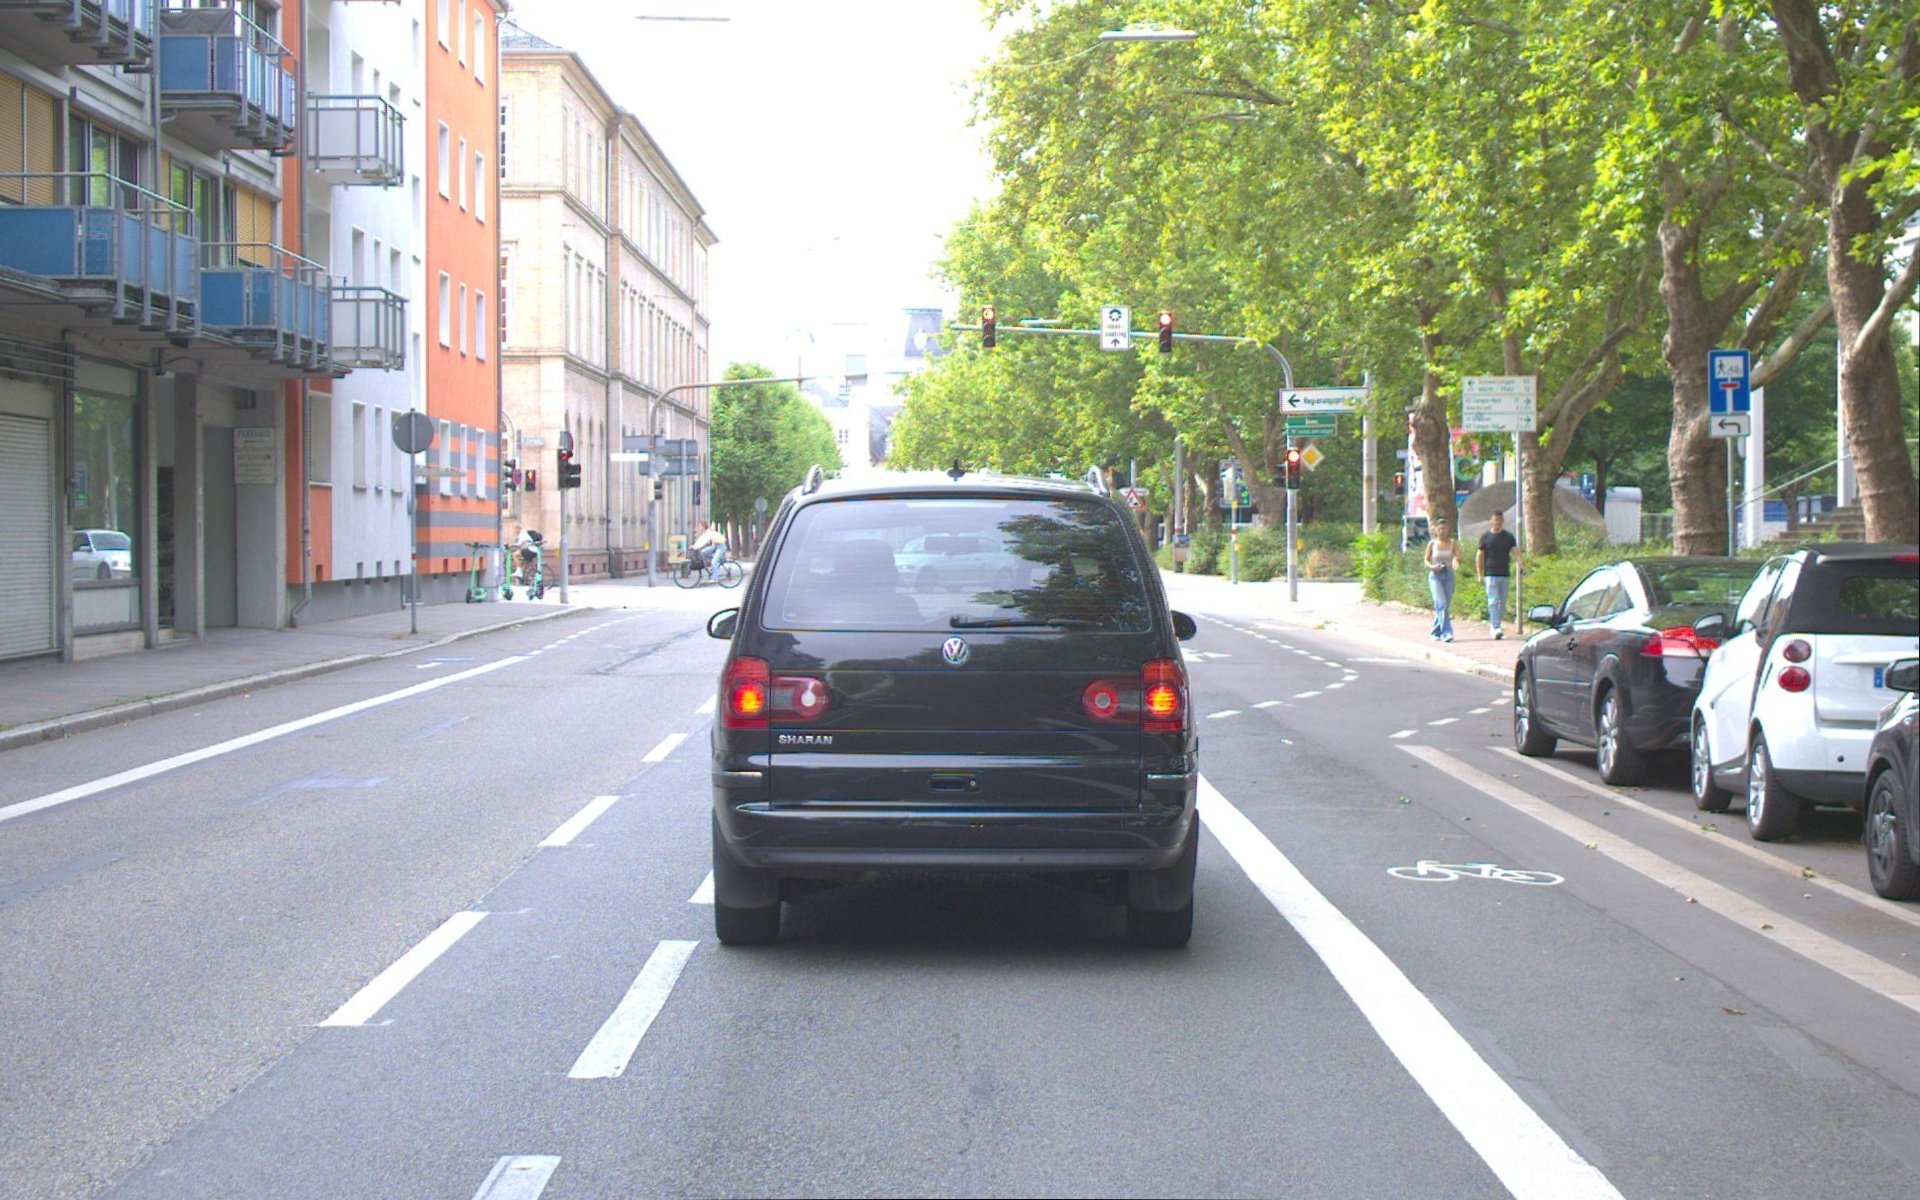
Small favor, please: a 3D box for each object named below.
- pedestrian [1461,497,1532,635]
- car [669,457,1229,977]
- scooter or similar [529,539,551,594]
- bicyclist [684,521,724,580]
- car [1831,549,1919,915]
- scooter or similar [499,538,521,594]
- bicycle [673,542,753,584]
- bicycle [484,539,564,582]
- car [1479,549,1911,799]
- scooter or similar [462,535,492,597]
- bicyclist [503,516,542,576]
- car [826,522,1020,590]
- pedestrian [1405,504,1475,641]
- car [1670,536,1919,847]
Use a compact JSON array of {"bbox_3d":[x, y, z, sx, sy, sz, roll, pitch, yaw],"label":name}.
[{"bbox_3d":[7.151,-0.458,45.826,0.715,1.794,1.034,-2,1,-1],"label":"pedestrian"},{"bbox_3d":[-0.051,0.338,13.841,1.874,1.739,4.574,0,1,0],"label":"car"},{"bbox_3d":[-8.880,-0.708,72.702,0.378,1.140,1.142,0,0,-3],"label":"scooter or similar"},{"bbox_3d":[-6.416,-1.236,86.090,0.914,1.461,0.570,1,1,-12],"label":"bicyclist"},{"bbox_3d":[4.734,0.577,13.772,1.528,1.496,3.660,2,1,0],"label":"car"},{"bbox_3d":[-9.450,-0.711,72.232,0.378,1.143,1.142,0,0,-3],"label":"scooter or similar"},{"bbox_3d":[-6.199,-0.929,86.140,1.924,1.025,0.583,1,1,-13],"label":"bicycle"},{"bbox_3d":[-10.739,-0.979,84.731,1.924,1.025,0.583,1,1,-10],"label":"bicycle"},{"bbox_3d":[4.742,0.413,22.822,1.697,1.420,4.423,2,1,-3],"label":"car"},{"bbox_3d":[-9.271,-0.644,66.014,0.378,1.179,1.390,0,0,0],"label":"scooter or similar"},{"bbox_3d":[-10.781,-1.338,84.719,0.914,1.461,0.570,1,1,-10],"label":"bicyclist"},{"bbox_3d":[-0.834,-1.012,78.522,4.086,1.422,1.763,-2,1,-33],"label":"car"},{"bbox_3d":[6.379,-0.371,45.747,0.710,1.777,1.034,-2,1,-1],"label":"pedestrian"},{"bbox_3d":[4.842,0.446,18.569,1.536,1.538,2.599,2,1,3],"label":"car"}]
